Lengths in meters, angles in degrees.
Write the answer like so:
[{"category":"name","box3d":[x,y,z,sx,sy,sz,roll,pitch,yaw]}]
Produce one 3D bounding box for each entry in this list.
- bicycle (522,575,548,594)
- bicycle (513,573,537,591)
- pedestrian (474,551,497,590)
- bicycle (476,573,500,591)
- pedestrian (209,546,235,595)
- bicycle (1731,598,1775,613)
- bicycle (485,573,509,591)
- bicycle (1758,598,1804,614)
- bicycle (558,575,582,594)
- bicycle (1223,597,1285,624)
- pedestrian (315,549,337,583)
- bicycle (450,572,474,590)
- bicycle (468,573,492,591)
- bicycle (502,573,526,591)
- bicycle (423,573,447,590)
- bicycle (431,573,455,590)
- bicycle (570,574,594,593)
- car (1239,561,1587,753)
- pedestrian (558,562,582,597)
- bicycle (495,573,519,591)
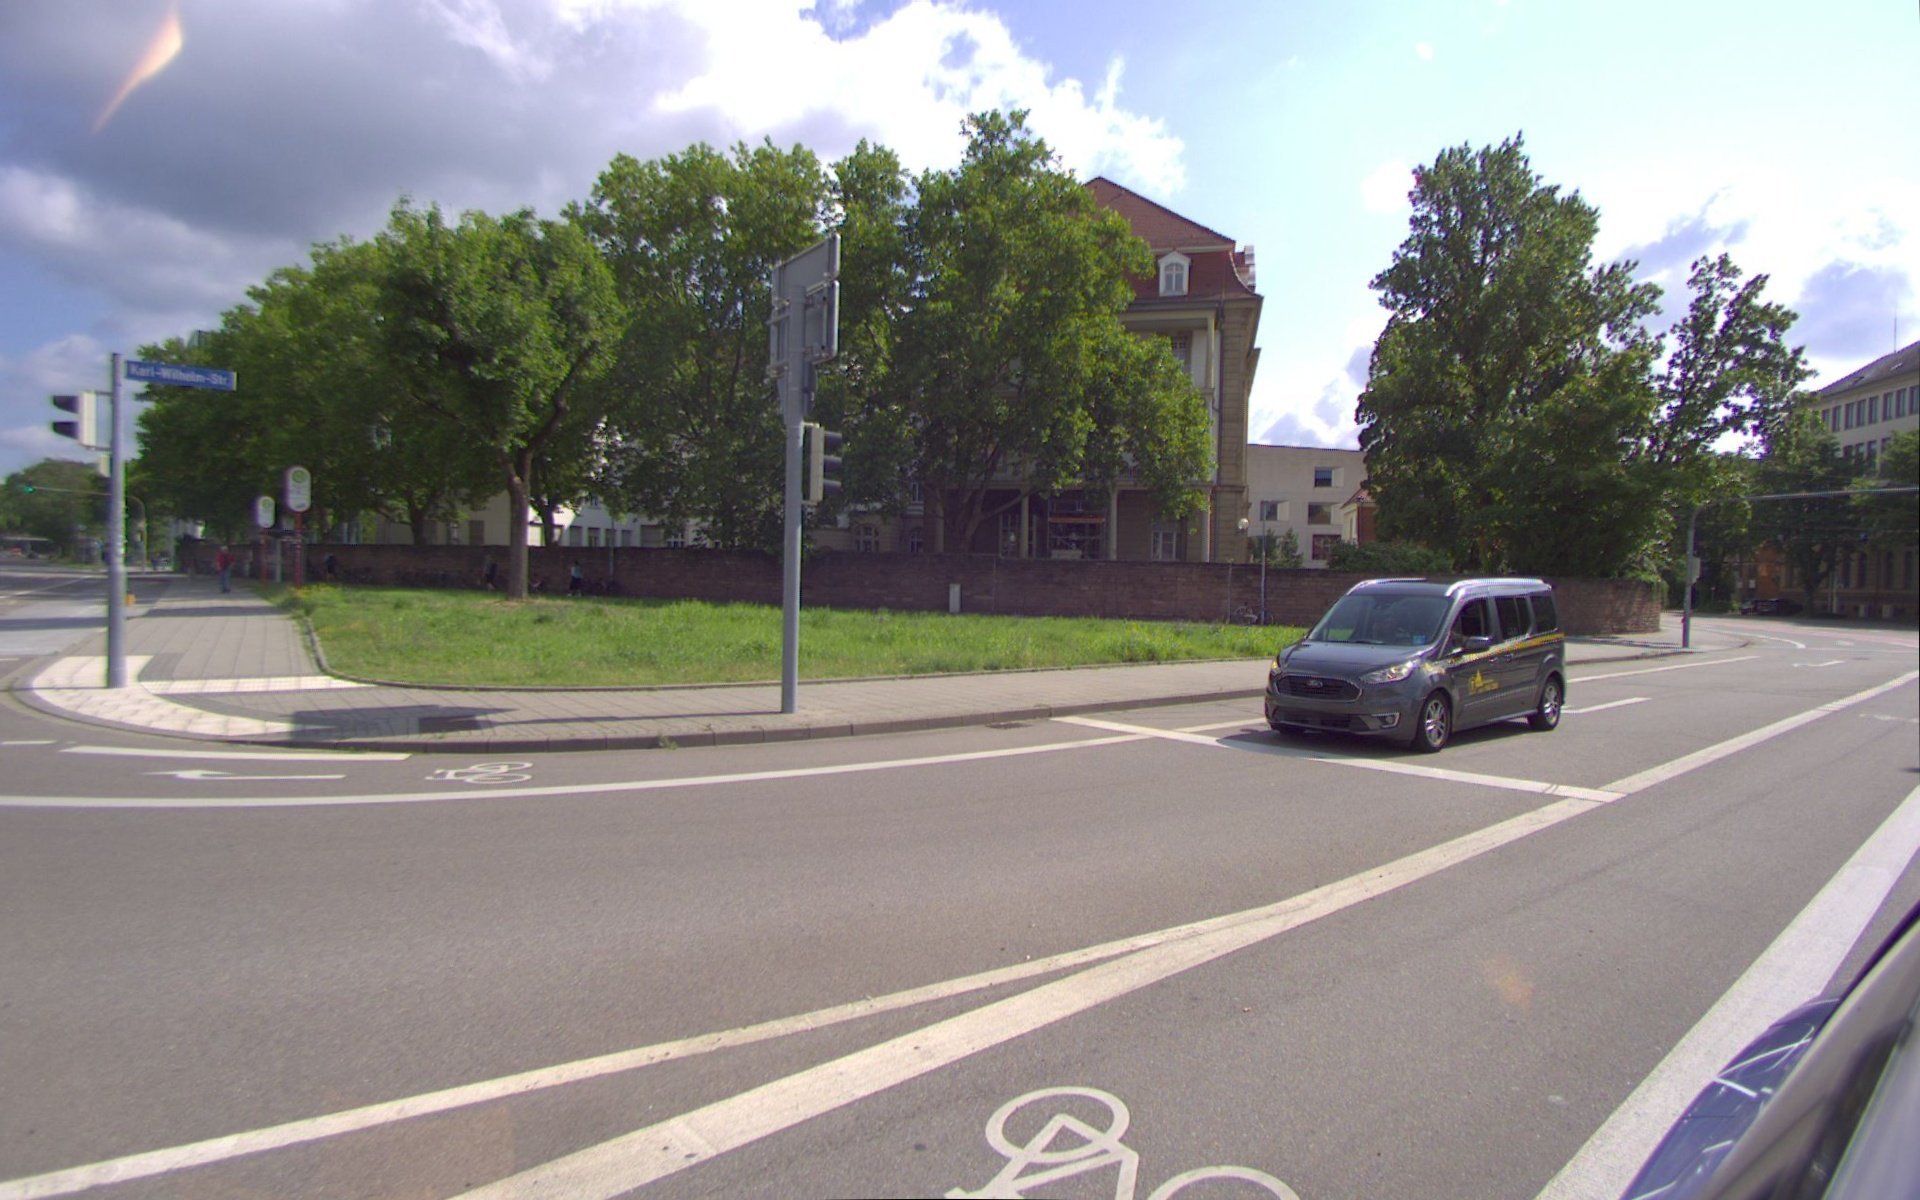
[{"category":"bicycle","box3d":[-20.060,-0.741,47.781,0.495,0.859,1.064,2,2,27]},{"category":"bicycle","box3d":[-20.744,-0.863,48.238,0.478,0.859,0.964,2,1,27]},{"category":"pedestrian","box3d":[-21.808,-1.368,46.501,0.736,1.744,0.657,3,1,30]},{"category":"bicycle","box3d":[-23.058,-0.861,49.443,0.478,0.859,0.964,2,1,27]},{"category":"pedestrian","box3d":[-27.717,-1.121,38.006,0.736,1.802,0.965,0,2,-39]},{"category":"bicycle","box3d":[71.025,0.485,90.662,1.053,1.221,2.897,-3,4,-33]},{"category":"bicycle","box3d":[-22.480,-0.862,49.155,0.478,0.859,0.964,2,1,27]},{"category":"bicycle","box3d":[70.955,0.497,87.460,1.030,1.221,2.897,-3,4,-33]},{"category":"bicycle","box3d":[-17.979,-0.733,46.676,0.478,0.859,0.964,2,1,27]},{"category":"bicycle","box3d":[10.890,0.380,37.489,2.023,0.871,0.859,2,3,3]},{"category":"pedestrian","box3d":[-34.258,-1.818,54.686,0.871,1.802,0.770,-1,2,-41]},{"category":"bicycle","box3d":[-24.741,-0.929,50.316,0.478,0.859,0.964,2,1,27]},{"category":"bicycle","box3d":[-23.552,-0.862,49.685,0.478,0.859,0.964,2,1,27]},{"category":"bicycle","box3d":[-21.410,-0.864,48.540,0.478,0.859,0.964,2,1,27]},{"category":"bicycle","box3d":[-26.612,-0.930,51.314,0.478,0.859,0.964,2,1,27]},{"category":"bicycle","box3d":[-26.093,-0.930,51.070,0.478,0.859,0.964,2,1,27]},{"category":"bicycle","box3d":[-17.348,-0.754,46.426,0.478,0.859,0.964,2,1,27]},{"category":"car","box3d":[5.374,0.534,11.717,4.588,1.808,1.853,0,0,-40]},{"category":"pedestrian","box3d":[-17.646,-0.949,45.749,0.717,1.552,0.719,2,2,27]},{"category":"bicycle","box3d":[-21.879,-0.863,48.852,0.478,0.859,0.964,2,1,27]}]
